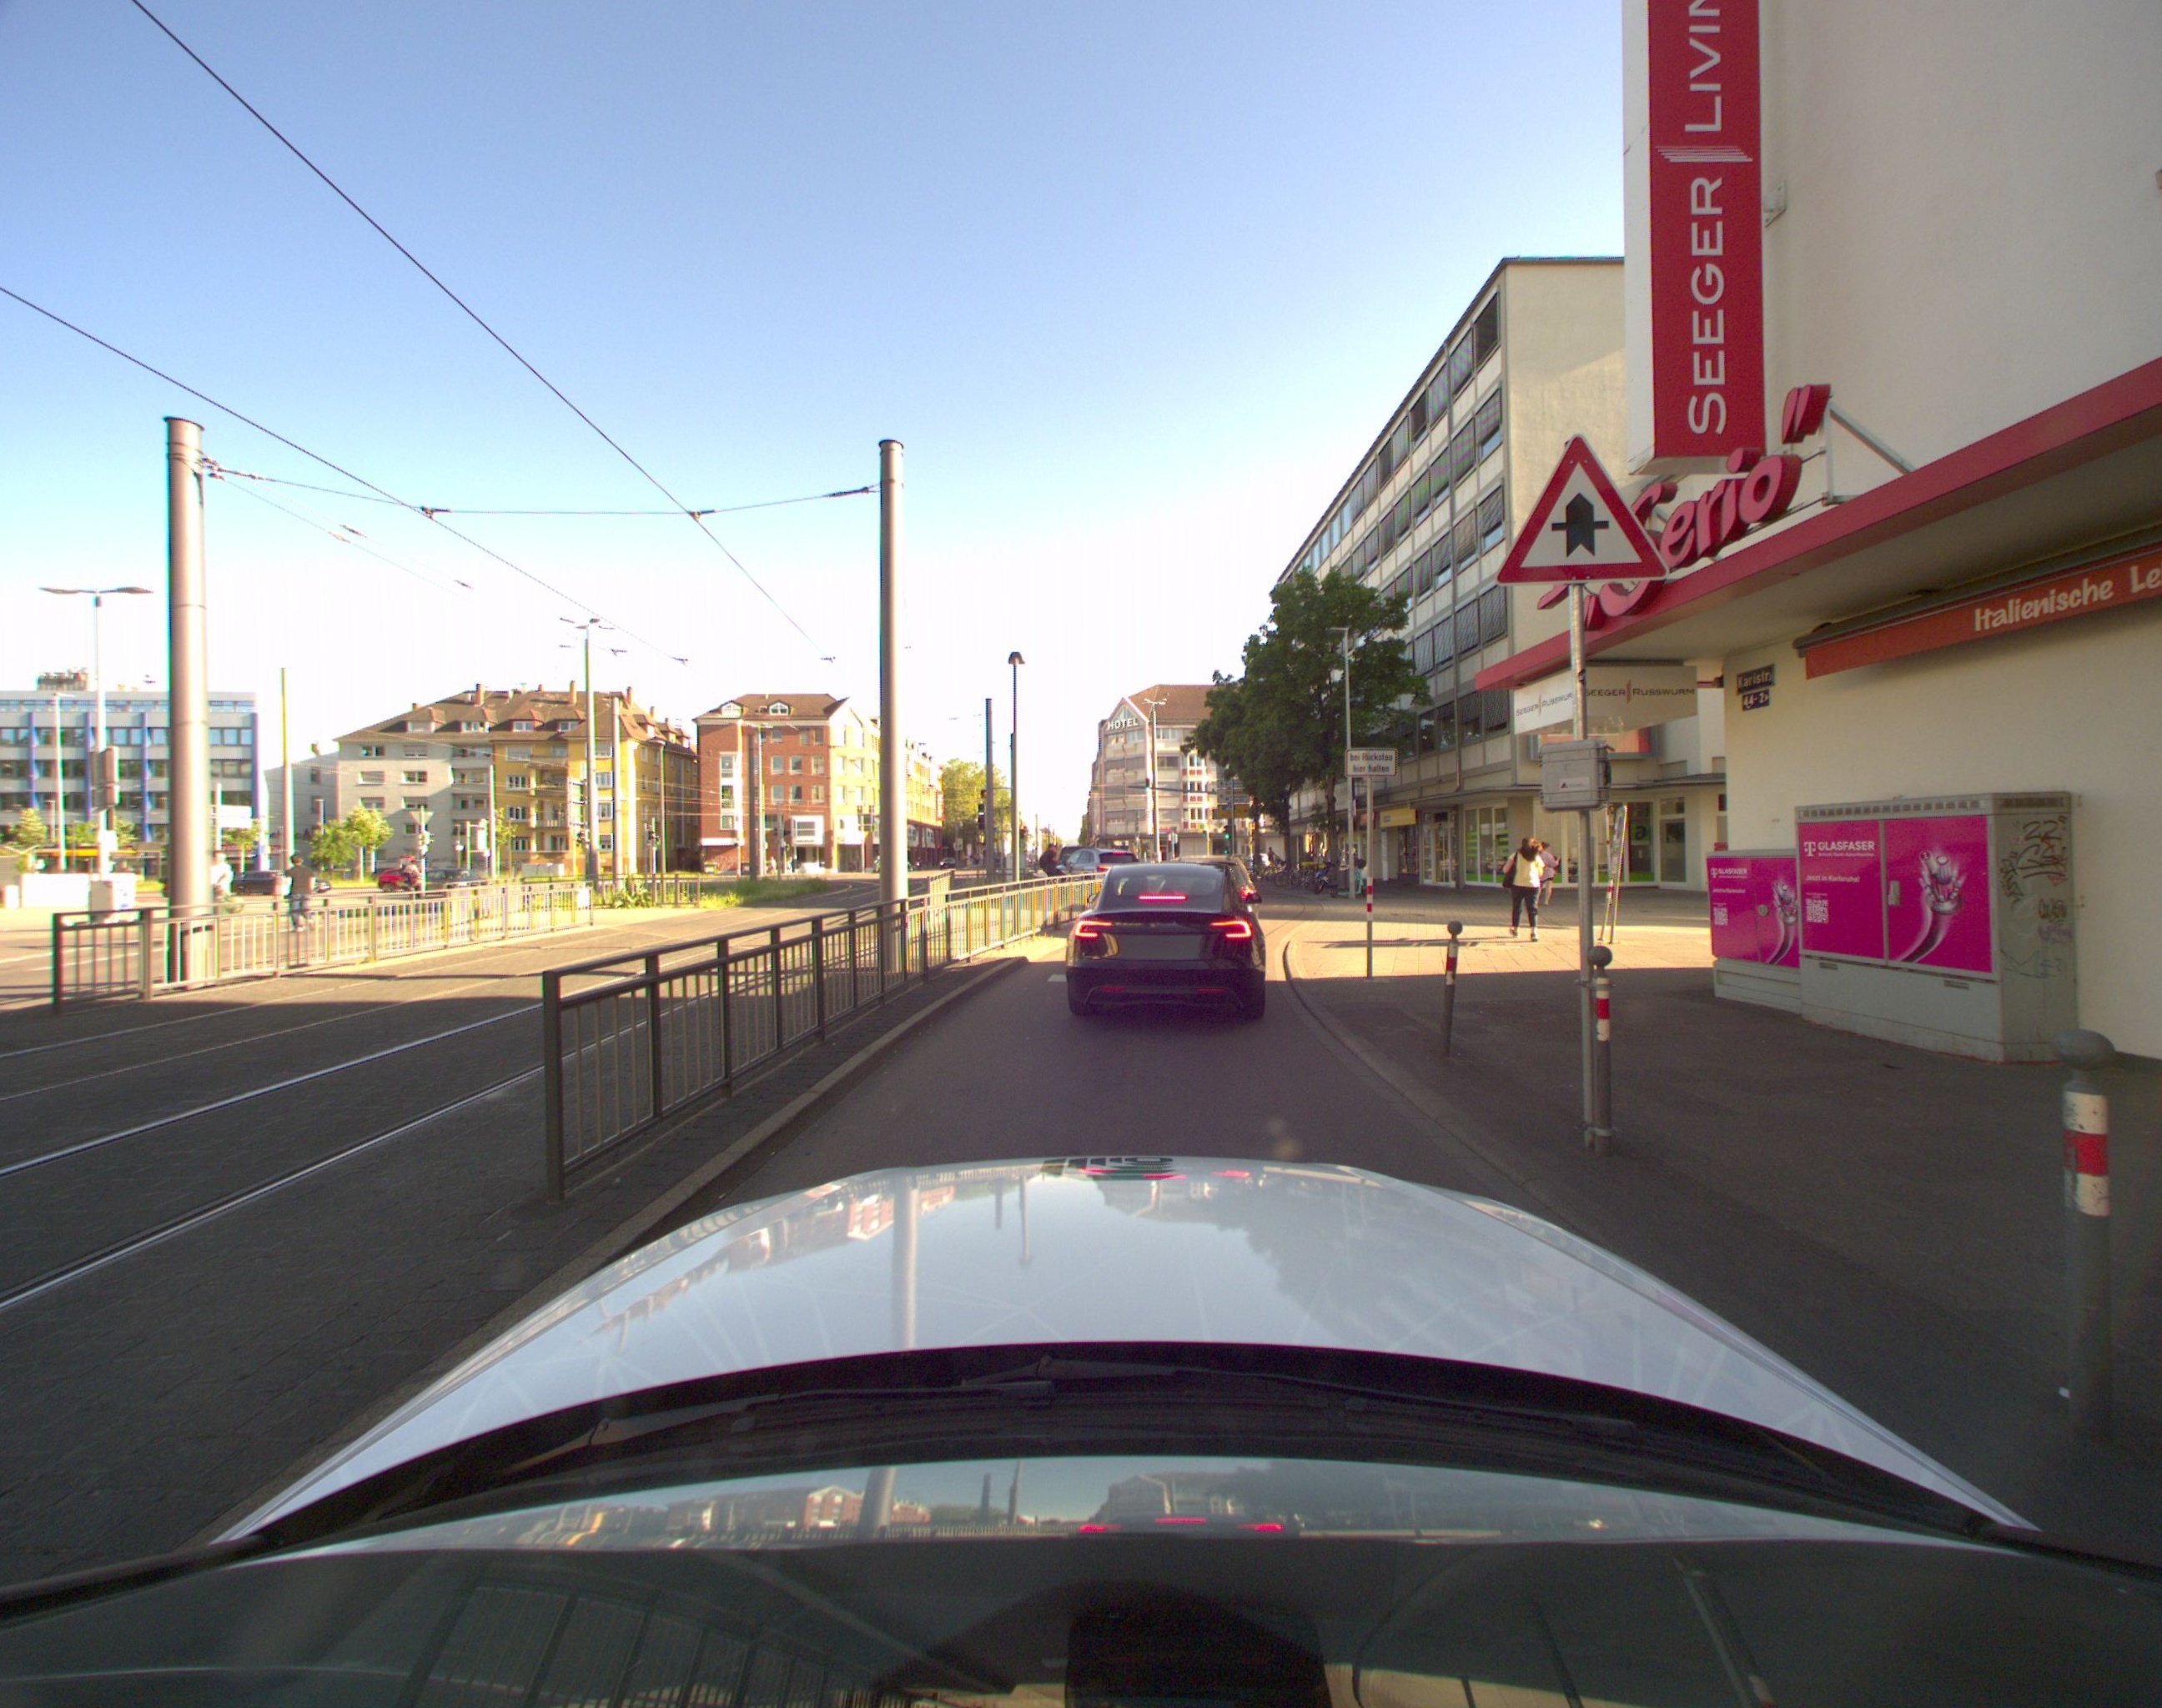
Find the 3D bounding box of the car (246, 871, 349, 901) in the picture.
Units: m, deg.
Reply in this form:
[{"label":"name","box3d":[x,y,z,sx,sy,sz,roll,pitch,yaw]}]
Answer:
[{"label":"car","box3d":[-45.496,1.841,47.379,3.984,1.672,1.772,0,-1,-8]}]

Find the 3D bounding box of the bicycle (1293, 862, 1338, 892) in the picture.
[{"label":"bicycle","box3d":[8.895,0.858,30.946,1.649,1.099,0.349,0,-1,-9]}]

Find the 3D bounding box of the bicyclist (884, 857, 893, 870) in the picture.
[{"label":"bicyclist","box3d":[-22.305,1.094,94.402,0.780,1.563,0.747,-1,0,2]}]

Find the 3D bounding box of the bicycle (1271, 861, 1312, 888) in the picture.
[{"label":"bicycle","box3d":[8.616,0.846,33.327,1.649,1.099,0.349,0,-1,-9]}]

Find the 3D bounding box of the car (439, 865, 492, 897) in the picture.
[{"label":"car","box3d":[-31.218,1.319,41.292,1.655,1.526,3.817,0,-1,-44]}]

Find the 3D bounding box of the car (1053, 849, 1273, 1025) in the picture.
[{"label":"car","box3d":[0.916,0.709,8.815,1.820,1.455,4.007,0,-1,7]}]

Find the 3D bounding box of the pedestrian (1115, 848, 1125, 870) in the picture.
[{"label":"pedestrian","box3d":[3.573,0.432,75.149,0.917,2.014,0.973,0,-1,1]}]

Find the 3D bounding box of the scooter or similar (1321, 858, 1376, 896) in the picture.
[{"label":"scooter or similar","box3d":[8.898,0.763,27.107,1.625,1.215,0.649,-1,-1,32]}]

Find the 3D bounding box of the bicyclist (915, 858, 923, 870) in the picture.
[{"label":"bicyclist","box3d":[-19.789,1.233,99.695,0.781,1.527,0.590,0,-1,6]}]

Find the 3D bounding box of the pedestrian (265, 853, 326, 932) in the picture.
[{"label":"pedestrian","box3d":[-17.114,0.821,17.747,0.585,1.681,0.779,-1,-1,24]}]

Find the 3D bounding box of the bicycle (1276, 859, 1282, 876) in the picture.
[{"label":"bicycle","box3d":[12.609,0.842,51.887,0.330,1.034,1.260,-1,-1,12]}]

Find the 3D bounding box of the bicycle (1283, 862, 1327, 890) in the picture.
[{"label":"bicycle","box3d":[8.731,0.858,31.796,1.649,1.099,0.349,0,-1,-9]}]

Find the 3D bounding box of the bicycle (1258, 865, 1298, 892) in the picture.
[{"label":"bicycle","box3d":[8.265,1.038,34.153,1.649,1.099,0.349,0,-1,-9]}]

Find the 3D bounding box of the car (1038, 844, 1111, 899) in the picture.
[{"label":"car","box3d":[-0.327,0.666,32.678,1.997,2.014,3.980,-1,0,-15]}]

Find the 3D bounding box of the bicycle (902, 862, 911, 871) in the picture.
[{"label":"bicycle","box3d":[-21.948,1.628,102.577,0.527,1.088,2.226,-1,0,3]}]

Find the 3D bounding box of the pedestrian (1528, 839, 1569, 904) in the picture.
[{"label":"pedestrian","box3d":[12.431,0.461,21.674,0.881,1.667,0.813,-1,-1,25]}]

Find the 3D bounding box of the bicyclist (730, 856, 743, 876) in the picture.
[{"label":"bicyclist","box3d":[-26.056,0.919,61.630,0.631,1.503,0.696,0,-1,1]}]

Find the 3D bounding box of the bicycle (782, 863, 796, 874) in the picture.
[{"label":"bicycle","box3d":[-26.879,1.360,74.873,0.402,0.981,1.699,-1,-1,10]}]

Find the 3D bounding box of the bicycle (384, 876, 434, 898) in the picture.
[{"label":"bicycle","box3d":[-38.002,1.841,46.081,2.188,1.214,0.544,0,-1,-11]}]

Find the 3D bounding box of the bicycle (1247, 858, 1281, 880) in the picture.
[{"label":"bicycle","box3d":[9.262,0.760,41.306,1.643,1.099,0.350,-1,0,3]}]

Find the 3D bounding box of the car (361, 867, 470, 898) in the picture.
[{"label":"car","box3d":[-39.458,1.656,48.375,4.585,1.700,1.993,0,-1,-10]}]

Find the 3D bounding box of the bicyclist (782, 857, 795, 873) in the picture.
[{"label":"bicyclist","box3d":[-26.923,1.024,74.902,0.699,1.471,0.975,-1,0,9]}]

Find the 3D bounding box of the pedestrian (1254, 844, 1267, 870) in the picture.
[{"label":"pedestrian","box3d":[11.527,0.211,52.273,0.697,1.662,0.777,0,-1,1]}]

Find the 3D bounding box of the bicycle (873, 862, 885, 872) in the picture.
[{"label":"bicycle","box3d":[-22.280,1.412,89.842,0.535,1.088,2.227,0,-1,4]}]

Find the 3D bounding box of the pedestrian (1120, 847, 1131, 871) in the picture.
[{"label":"pedestrian","box3d":[3.864,0.421,70.174,0.917,2.014,0.973,0,-1,1]}]

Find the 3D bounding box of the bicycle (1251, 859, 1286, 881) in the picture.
[{"label":"bicycle","box3d":[9.280,0.797,40.258,1.643,1.099,0.350,0,-1,3]}]

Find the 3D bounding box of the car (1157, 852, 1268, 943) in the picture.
[{"label":"car","box3d":[2.391,0.691,15.062,1.741,1.454,4.009,-1,0,8]}]

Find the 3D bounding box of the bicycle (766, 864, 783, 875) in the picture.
[{"label":"bicycle","box3d":[-25.837,1.298,68.631,0.522,0.972,2.247,0,-1,2]}]

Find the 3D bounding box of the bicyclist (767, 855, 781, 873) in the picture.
[{"label":"bicyclist","box3d":[-25.858,0.875,68.548,0.895,1.503,0.696,0,-1,1]}]

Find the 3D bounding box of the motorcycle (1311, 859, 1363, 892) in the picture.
[{"label":"motorcycle","box3d":[9.144,0.767,29.150,1.701,1.173,0.541,0,-1,0]}]

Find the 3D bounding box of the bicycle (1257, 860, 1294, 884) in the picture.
[{"label":"bicycle","box3d":[9.139,0.836,38.220,1.643,1.099,0.350,0,-1,3]}]

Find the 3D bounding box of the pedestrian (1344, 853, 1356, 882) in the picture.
[{"label":"pedestrian","box3d":[12.446,0.635,37.685,0.388,1.343,0.513,0,-1,4]}]

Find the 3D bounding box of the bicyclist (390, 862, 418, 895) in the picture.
[{"label":"bicyclist","box3d":[-38.242,1.379,46.018,0.901,1.808,0.788,0,-1,-11]}]

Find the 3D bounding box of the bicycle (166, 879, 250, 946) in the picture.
[{"label":"bicycle","box3d":[-16.798,1.104,15.659,1.832,1.222,0.488,-1,-1,23]}]

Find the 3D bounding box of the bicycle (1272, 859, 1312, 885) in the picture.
[{"label":"bicycle","box3d":[9.117,0.777,35.266,1.643,1.099,0.350,0,-1,3]}]

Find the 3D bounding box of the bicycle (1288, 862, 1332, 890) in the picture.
[{"label":"bicycle","box3d":[8.817,0.854,31.370,1.649,1.061,0.349,0,-1,-9]}]

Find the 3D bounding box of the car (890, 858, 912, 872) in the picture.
[{"label":"car","box3d":[-19.762,1.232,89.601,1.706,1.527,4.032,0,-1,-3]}]

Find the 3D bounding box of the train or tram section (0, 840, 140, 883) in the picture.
[{"label":"train or tram section","box3d":[-79.054,0.545,61.461,11.229,3.131,2.796,0,-1,-10]}]

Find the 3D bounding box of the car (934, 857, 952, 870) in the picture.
[{"label":"car","box3d":[-18.096,1.246,106.707,1.692,1.731,3.706,0,-1,0]}]

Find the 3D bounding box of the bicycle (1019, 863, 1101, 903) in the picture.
[{"label":"bicycle","box3d":[-0.562,0.787,22.583,2.346,1.053,0.624,0,-1,-36]}]

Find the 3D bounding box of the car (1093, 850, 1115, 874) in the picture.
[{"label":"car","box3d":[1.767,0.598,61.795,1.592,1.778,3.982,0,-1,2]}]

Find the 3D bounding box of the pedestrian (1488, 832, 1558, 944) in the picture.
[{"label":"pedestrian","box3d":[7.286,0.539,13.477,0.906,1.752,1.044,-1,0,25]}]

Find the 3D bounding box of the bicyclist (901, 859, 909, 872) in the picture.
[{"label":"bicyclist","box3d":[-22.034,1.467,101.842,0.780,1.563,0.747,-1,0,3]}]

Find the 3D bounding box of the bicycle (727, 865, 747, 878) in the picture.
[{"label":"bicycle","box3d":[-26.048,1.331,61.673,0.445,0.972,2.247,0,-1,2]}]

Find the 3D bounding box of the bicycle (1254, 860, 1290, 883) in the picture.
[{"label":"bicycle","box3d":[9.204,0.840,39.246,1.643,1.099,0.350,0,-1,3]}]

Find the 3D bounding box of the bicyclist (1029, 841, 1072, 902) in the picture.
[{"label":"bicyclist","box3d":[-0.837,0.461,22.355,0.763,1.628,0.967,0,-1,-37]}]

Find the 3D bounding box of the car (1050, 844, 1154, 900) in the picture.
[{"label":"car","box3d":[0.588,0.556,26.654,1.891,1.662,4.126,0,-1,-23]}]

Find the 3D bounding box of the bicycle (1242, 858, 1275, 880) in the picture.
[{"label":"bicycle","box3d":[9.243,0.790,42.401,1.643,1.099,0.350,0,-1,3]}]

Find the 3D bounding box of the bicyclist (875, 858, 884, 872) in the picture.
[{"label":"bicyclist","box3d":[-22.234,1.177,89.795,0.780,1.563,0.747,0,-1,3]}]

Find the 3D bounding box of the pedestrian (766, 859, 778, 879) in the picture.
[{"label":"pedestrian","box3d":[-29.070,1.405,76.689,0.780,1.820,0.747,0,-1,3]}]

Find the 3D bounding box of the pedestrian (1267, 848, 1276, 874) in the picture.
[{"label":"pedestrian","box3d":[12.283,0.459,52.471,0.522,1.710,0.405,-1,-1,14]}]

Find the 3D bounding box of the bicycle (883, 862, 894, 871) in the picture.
[{"label":"bicycle","box3d":[-22.313,1.455,94.371,0.527,1.088,2.286,0,0,4]}]

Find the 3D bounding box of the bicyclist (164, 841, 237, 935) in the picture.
[{"label":"bicyclist","box3d":[-17.057,0.643,15.788,0.744,1.759,0.763,-1,-1,25]}]

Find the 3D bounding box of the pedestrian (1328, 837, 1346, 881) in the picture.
[{"label":"pedestrian","box3d":[11.904,0.237,37.825,0.659,2.014,0.580,0,-1,4]}]

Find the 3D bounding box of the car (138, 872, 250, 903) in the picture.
[{"label":"car","box3d":[-50.625,1.880,46.560,3.952,1.685,1.903,0,-1,-11]}]

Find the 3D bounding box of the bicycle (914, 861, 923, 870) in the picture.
[{"label":"bicycle","box3d":[-19.829,1.415,99.423,0.456,1.093,2.205,0,-1,6]}]

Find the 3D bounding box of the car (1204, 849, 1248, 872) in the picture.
[{"label":"car","box3d":[10.600,0.438,59.230,1.803,1.615,3.851,-1,-1,33]}]
